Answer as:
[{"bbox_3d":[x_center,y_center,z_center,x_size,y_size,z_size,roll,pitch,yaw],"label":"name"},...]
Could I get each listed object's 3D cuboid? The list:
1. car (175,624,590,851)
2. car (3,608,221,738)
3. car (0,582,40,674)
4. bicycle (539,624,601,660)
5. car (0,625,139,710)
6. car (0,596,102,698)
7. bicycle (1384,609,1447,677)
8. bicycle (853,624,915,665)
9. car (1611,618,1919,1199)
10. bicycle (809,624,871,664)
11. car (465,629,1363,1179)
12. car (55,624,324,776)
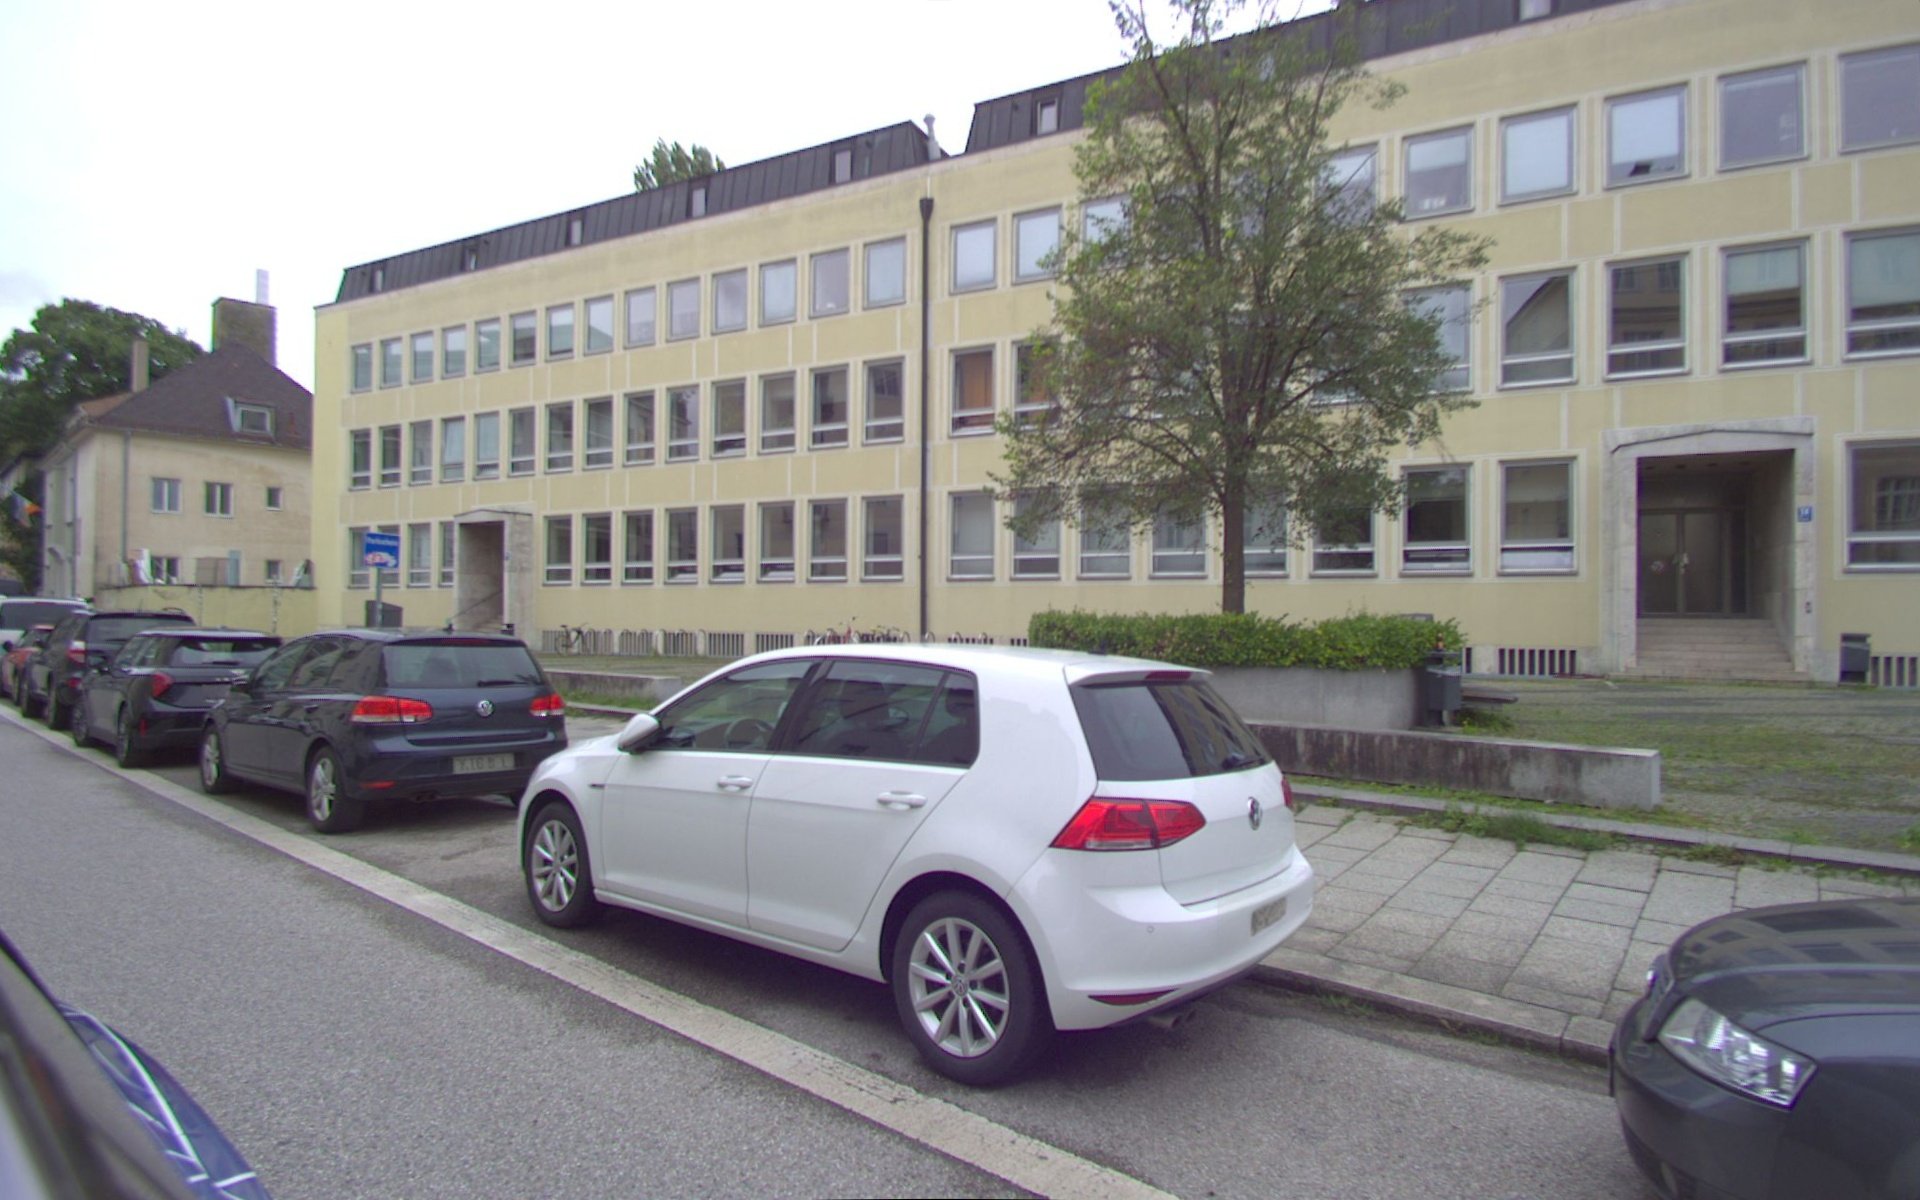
[{"bbox_3d":[-4.960,0.960,8.489,3.969,1.465,1.640,-1,-3,39],"label":"car"},{"bbox_3d":[-12.816,1.039,15.193,4.446,1.679,1.725,-1,-5,41],"label":"car"},{"bbox_3d":[-29.987,0.848,30.922,5.653,2.666,2.272,-1,-3,43],"label":"car"},{"bbox_3d":[-12.084,1.277,31.412,0.577,1.022,1.937,-1,0,24],"label":"bicycle"},{"bbox_3d":[-16.871,1.180,18.958,3.917,1.398,1.725,-1,-1,42],"label":"car"},{"bbox_3d":[-20.452,0.975,21.927,5.017,1.994,1.909,-1,-3,39],"label":"car"},{"bbox_3d":[9.029,0.831,20.095,1.050,1.258,2.422,-1,-1,24],"label":"bicycle"},{"bbox_3d":[-1.969,1.147,26.423,0.623,1.022,1.932,-1,-1,31],"label":"bicycle"},{"bbox_3d":[3.530,0.778,1.268,4.392,1.465,1.737,-1,-3,40],"label":"car"},{"bbox_3d":[-3.199,1.164,27.157,0.623,1.022,1.932,-1,-1,31],"label":"bicycle"},{"bbox_3d":[-0.478,0.894,4.678,4.068,1.465,1.640,-1,-3,39],"label":"car"},{"bbox_3d":[-8.968,1.034,11.672,3.867,1.465,1.663,-1,-3,41],"label":"car"}]
